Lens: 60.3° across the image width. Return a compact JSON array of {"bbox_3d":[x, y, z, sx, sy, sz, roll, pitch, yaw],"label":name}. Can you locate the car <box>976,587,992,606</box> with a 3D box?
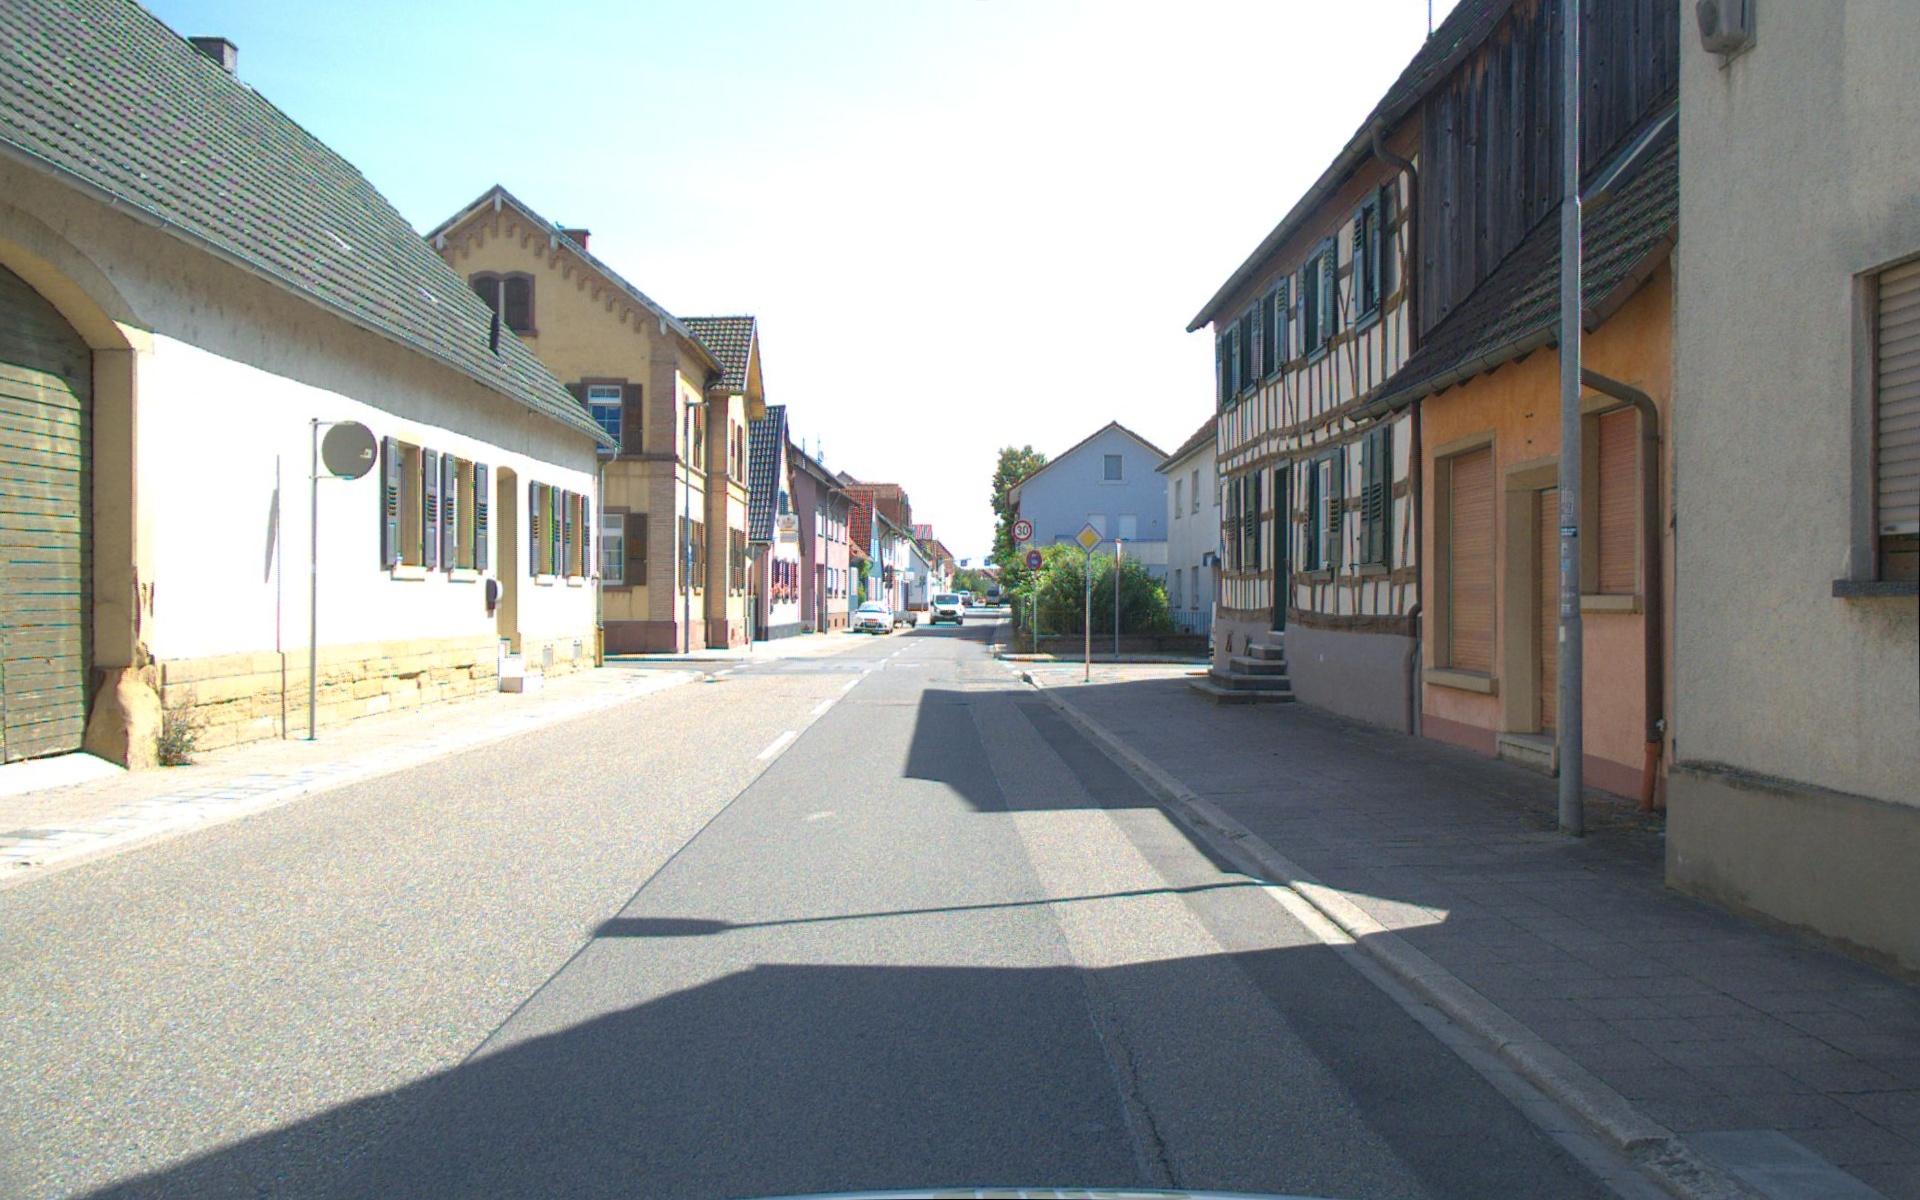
[{"bbox_3d":[3.227,-0.468,221.549,1.976,2.612,3.999,0,0,-1],"label":"car"}]

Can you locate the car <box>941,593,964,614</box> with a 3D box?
[{"bbox_3d":[-0.648,0.292,146.627,1.953,1.780,4.000,1,0,0],"label":"car"}]

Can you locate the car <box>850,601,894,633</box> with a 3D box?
[{"bbox_3d":[-4.239,0.795,80.041,1.953,1.467,4.000,0,0,0],"label":"car"}]

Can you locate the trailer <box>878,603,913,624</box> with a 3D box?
[{"bbox_3d":[-3.730,0.768,96.148,1.953,1.109,3.999,1,0,-1],"label":"trailer"}]

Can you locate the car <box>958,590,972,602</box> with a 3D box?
[{"bbox_3d":[0.637,-0.504,215.823,1.829,1.571,3.837,-1,0,-1],"label":"car"}]

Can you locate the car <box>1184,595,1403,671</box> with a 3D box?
[{"bbox_3d":[6.620,0.634,33.129,3.909,1.467,1.998,0,0,-5],"label":"car"}]

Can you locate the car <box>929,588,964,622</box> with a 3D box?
[{"bbox_3d":[-0.882,0.330,105.720,2.114,2.116,3.998,0,-1,-1],"label":"car"}]
